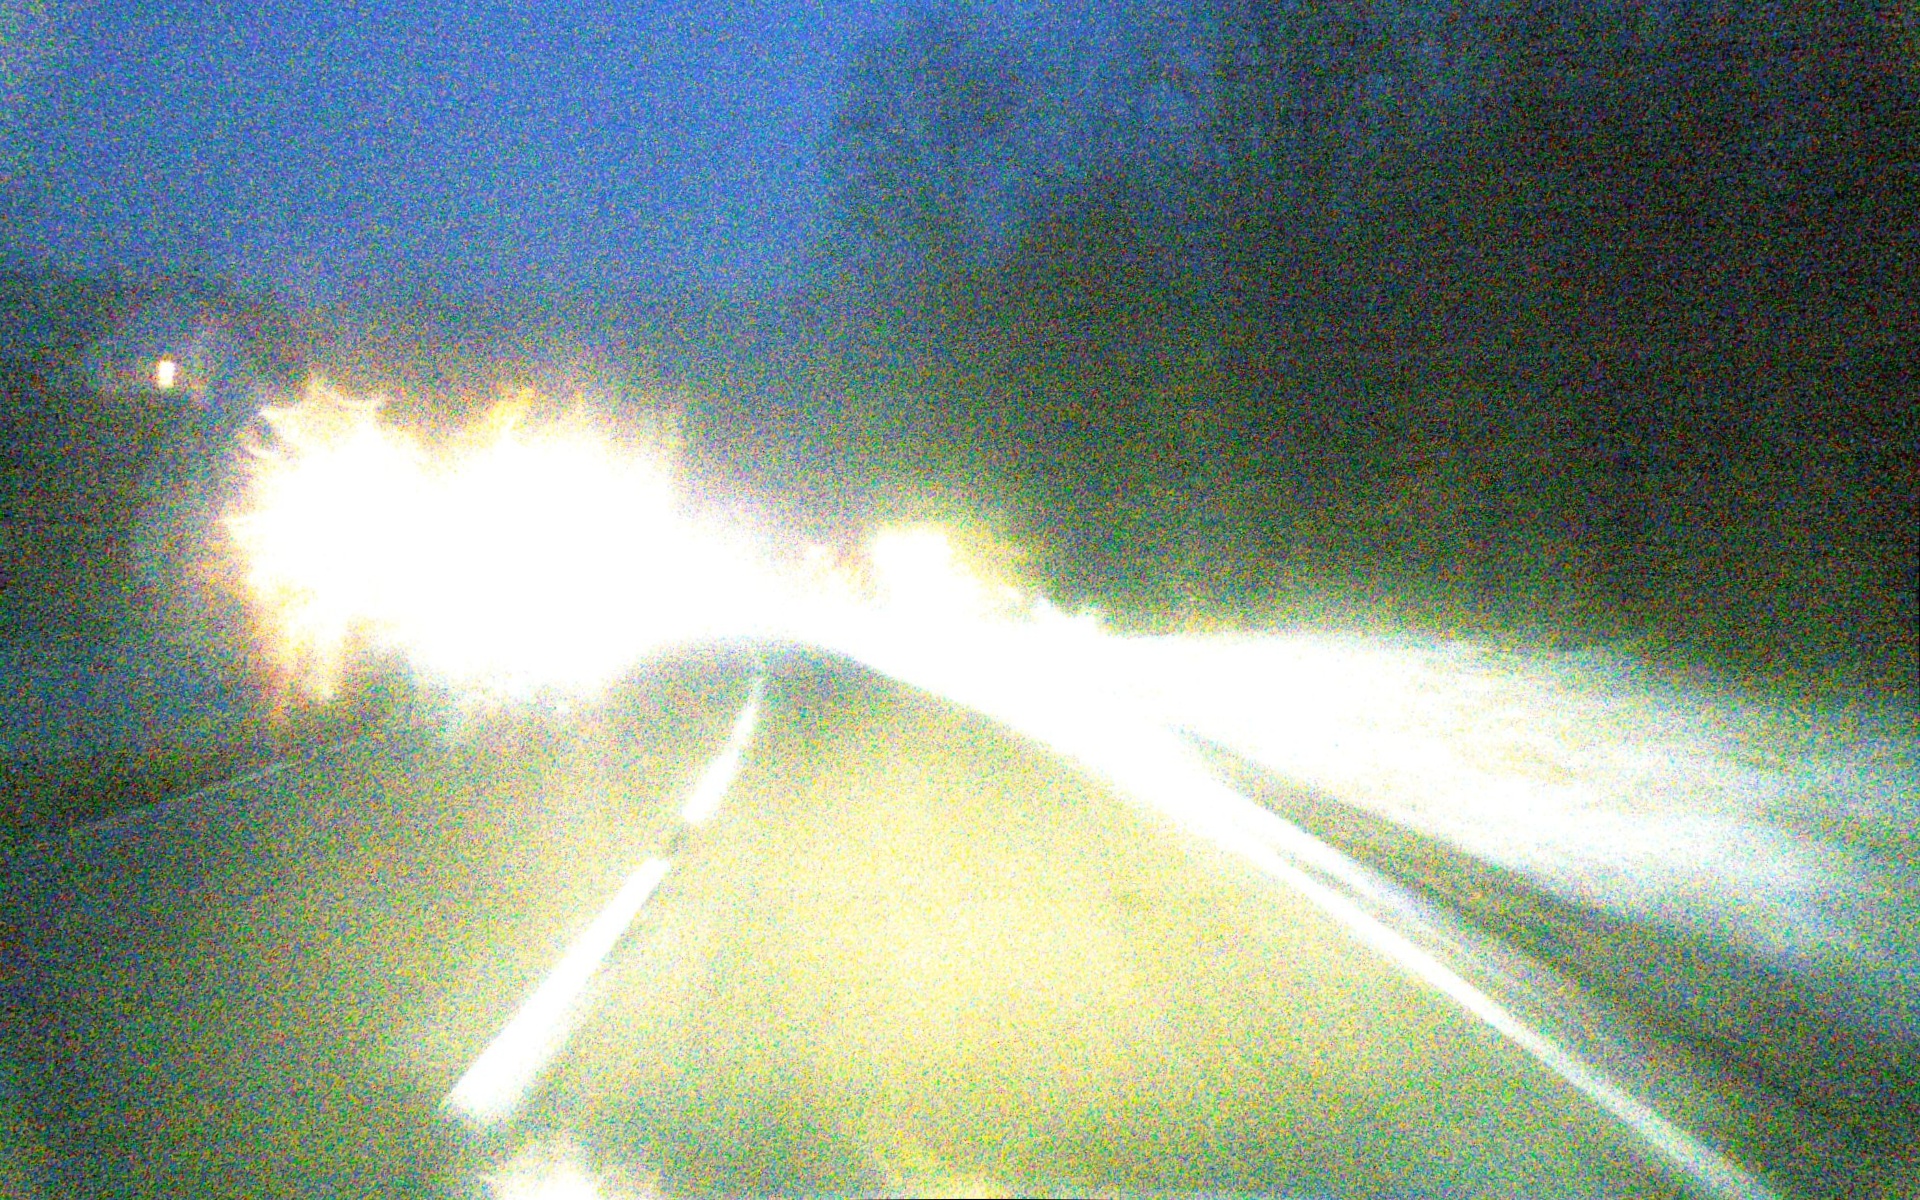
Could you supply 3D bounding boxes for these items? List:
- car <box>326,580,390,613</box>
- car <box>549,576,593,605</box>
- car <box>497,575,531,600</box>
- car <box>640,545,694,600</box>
[{"bbox_3d":[-28.770,-0.190,79.193,1.654,1.422,4.149,-1,2,-3],"label":"car"},{"bbox_3d":[-21.543,-0.521,91.496,1.926,1.548,4.375,2,0,-19],"label":"car"},{"bbox_3d":[-29.128,-0.806,108.030,1.688,1.501,3.844,2,1,-22],"label":"car"},{"bbox_3d":[-15.743,-1.512,88.534,2.495,2.540,5.698,1,4,-13],"label":"car"}]
